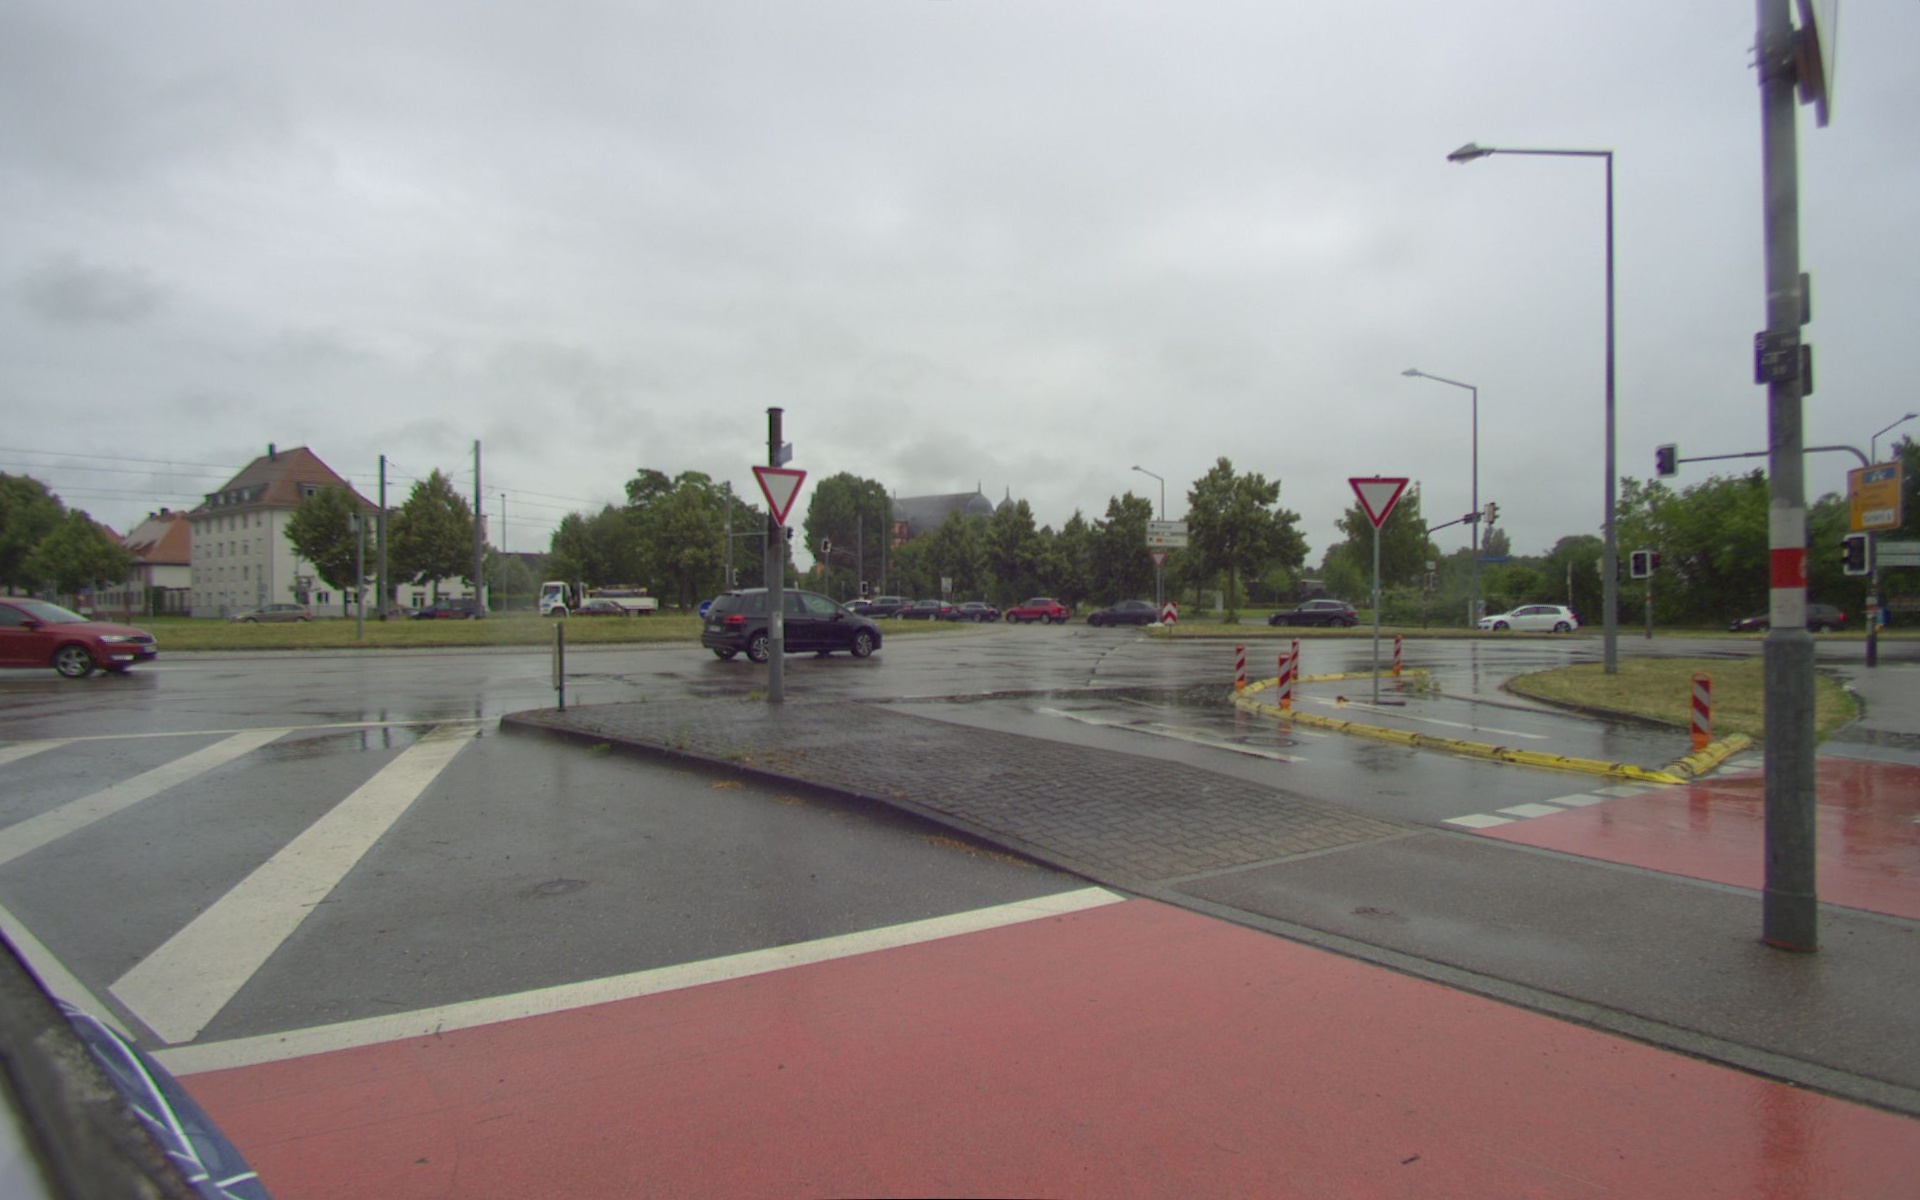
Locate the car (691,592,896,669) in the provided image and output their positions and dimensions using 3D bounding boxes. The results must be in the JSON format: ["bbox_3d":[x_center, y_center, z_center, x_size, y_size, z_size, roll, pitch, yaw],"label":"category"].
[{"bbox_3d":[-3.700,0.607,22.882,4.264,1.529,1.792,-1,1,-40],"label":"car"}]

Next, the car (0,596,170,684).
[{"bbox_3d":[-17.279,0.713,18.370,4.241,1.470,1.795,-1,1,-18],"label":"car"}]

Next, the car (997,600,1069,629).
[{"bbox_3d":[4.692,0.917,65.068,4.389,1.660,1.766,2,2,39],"label":"car"}]

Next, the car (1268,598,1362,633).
[{"bbox_3d":[18.716,0.774,53.412,4.374,1.660,1.770,2,2,32],"label":"car"}]

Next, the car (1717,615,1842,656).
[{"bbox_3d":[37.480,1.603,46.396,3.966,1.660,1.779,1,2,17],"label":"car"}]

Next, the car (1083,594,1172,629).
[{"bbox_3d":[8.934,0.594,54.131,4.383,1.660,1.768,2,2,35],"label":"car"}]

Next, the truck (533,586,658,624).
[{"bbox_3d":[-27.383,0.391,76.314,8.652,2.731,2.005,1,1,-11],"label":"truck"}]

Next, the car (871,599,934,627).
[{"bbox_3d":[-3.832,0.832,66.883,4.149,1.660,1.764,2,2,43],"label":"car"}]

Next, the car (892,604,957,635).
[{"bbox_3d":[-2.173,1.136,60.817,1.759,1.660,4.405,0,2,-36],"label":"car"}]

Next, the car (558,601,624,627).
[{"bbox_3d":[-25.254,0.940,69.436,3.938,1.660,1.792,1,1,-6],"label":"car"}]

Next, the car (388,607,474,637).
[{"bbox_3d":[-33.740,1.366,64.547,4.783,1.757,1.783,0,2,-31],"label":"car"}]

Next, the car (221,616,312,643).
[{"bbox_3d":[-43.271,1.804,63.205,1.612,1.503,4.485,2,2,43],"label":"car"}]

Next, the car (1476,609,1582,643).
[{"bbox_3d":[27.369,1.229,48.812,4.218,1.386,1.621,2,2,20],"label":"car"}]

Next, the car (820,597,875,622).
[{"bbox_3d":[-8.368,0.672,75.023,1.762,1.660,4.398,0,2,-44],"label":"car"}]
